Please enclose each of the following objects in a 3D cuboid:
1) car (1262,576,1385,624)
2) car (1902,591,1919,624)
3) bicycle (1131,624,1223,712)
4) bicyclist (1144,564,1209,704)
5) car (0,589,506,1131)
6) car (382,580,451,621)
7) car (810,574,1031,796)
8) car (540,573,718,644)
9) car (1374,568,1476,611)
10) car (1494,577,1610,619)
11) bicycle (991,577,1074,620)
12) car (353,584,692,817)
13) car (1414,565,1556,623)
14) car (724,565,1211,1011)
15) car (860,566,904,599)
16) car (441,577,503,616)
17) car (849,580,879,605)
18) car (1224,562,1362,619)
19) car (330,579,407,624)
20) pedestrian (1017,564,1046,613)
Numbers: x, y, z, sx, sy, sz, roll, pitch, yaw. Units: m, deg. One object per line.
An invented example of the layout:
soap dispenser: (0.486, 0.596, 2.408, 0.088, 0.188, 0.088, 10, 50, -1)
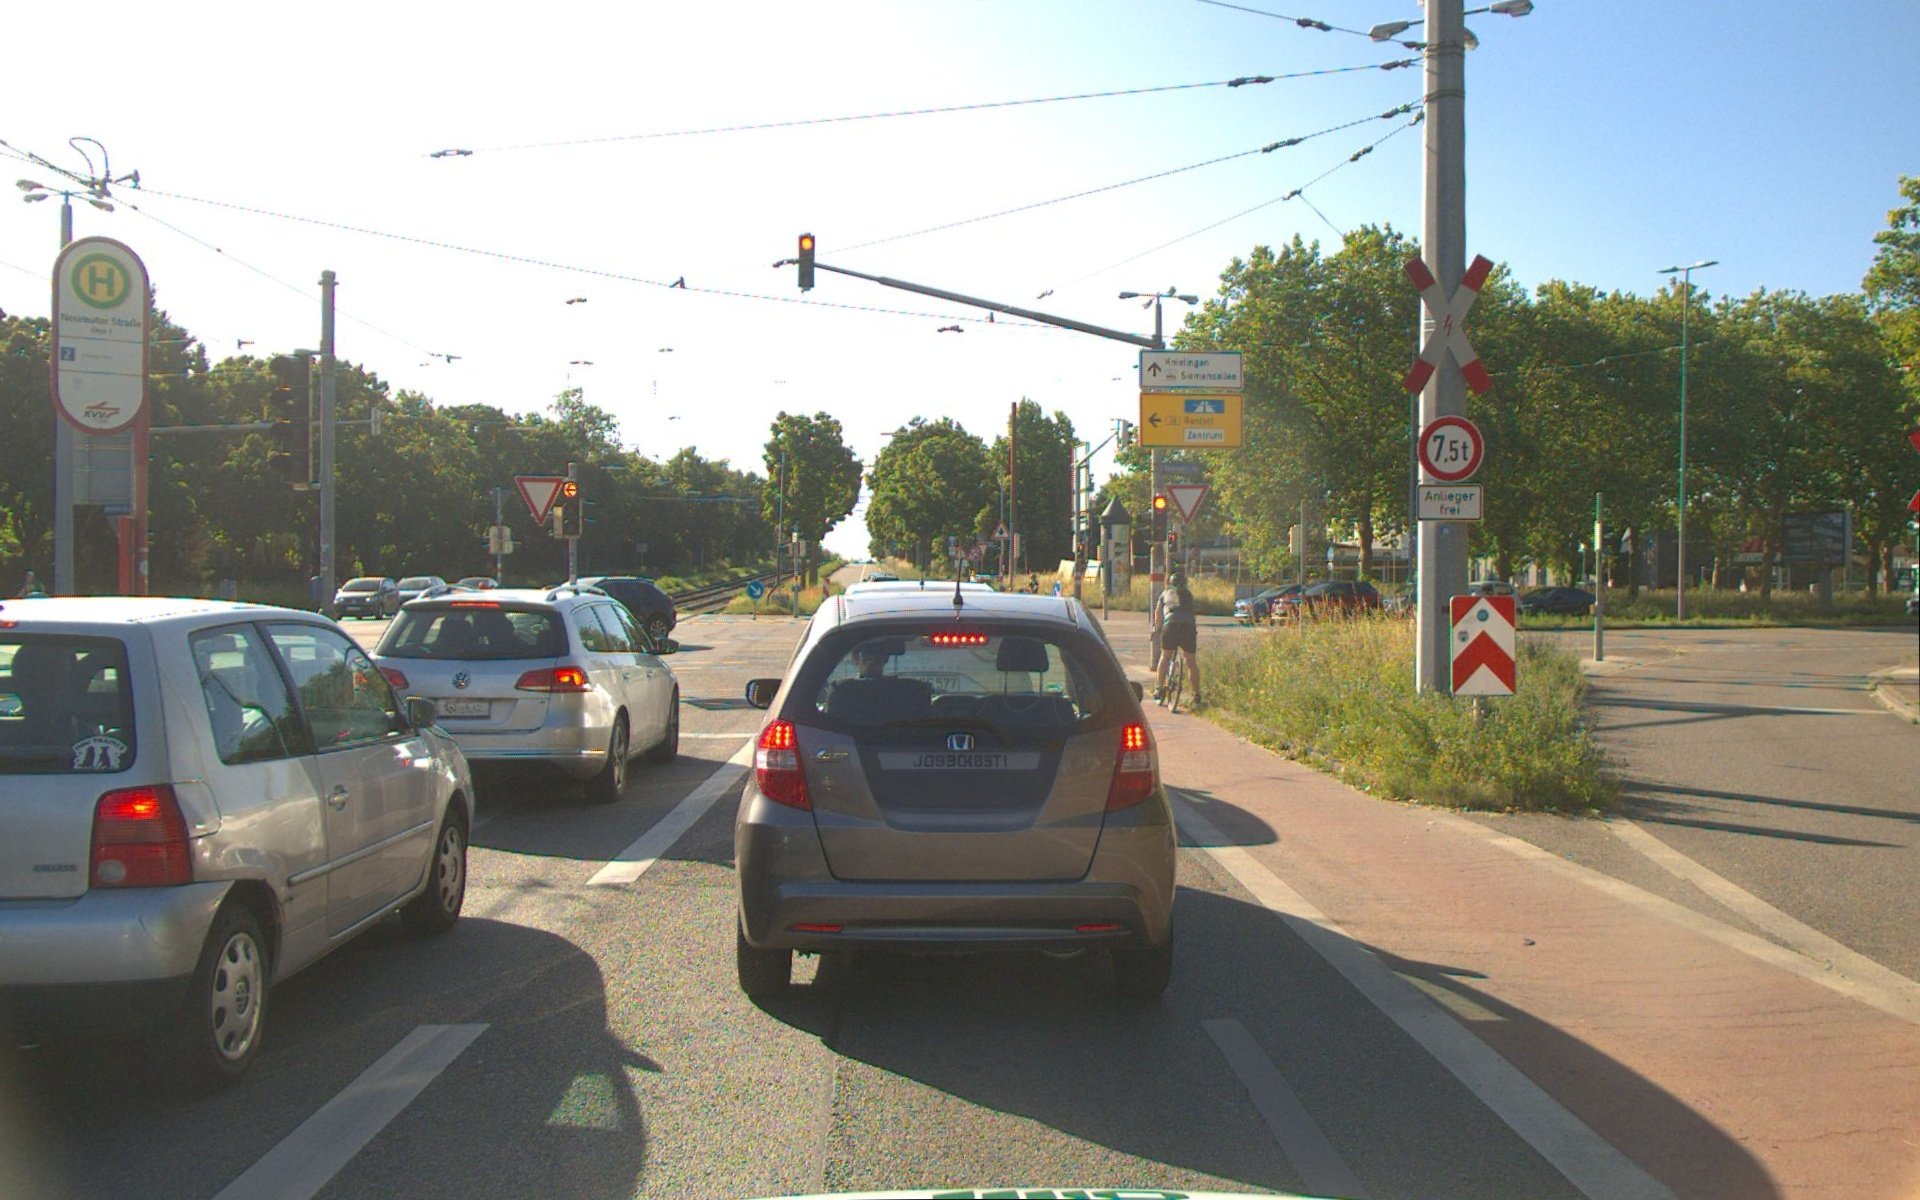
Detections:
car: (12.355, -0.013, 56.166, 3.934, 1.557, 1.594, -1, 1, -24)
car: (46.209, 0.319, 77.576, 3.937, 1.527, 1.580, 0, 0, -26)
bicycle: (2.752, 0.840, 21.286, 0.707, 1.006, 2.875, 1, 0, -2)
bicyclist: (2.765, 0.427, 21.207, 0.652, 1.746, 0.948, 1, 0, -2)
car: (-2.897, 0.703, 6.088, 1.586, 1.442, 3.350, 0, 0, -1)
car: (-21.489, 0.017, 65.538, 1.798, 1.575, 4.277, 0, 0, -8)
car: (-0.334, 0.599, 13.989, 1.578, 1.589, 4.287, 0, 0, -1)
car: (-7.666, 0.161, 38.552, 1.564, 1.571, 3.959, 0, 1, 42)
car: (17.827, -0.417, 63.448, 3.694, 1.597, 1.480, 0, 0, -24)
car: (23.588, -0.098, 65.873, 4.450, 1.601, 1.681, 0, 0, -24)
bicycle: (2.782, -0.073, 62.952, 3.164, 1.602, 0.814, 0, 0, -26)
car: (-3.155, 0.654, 12.728, 1.586, 1.482, 4.084, 1, 0, -1)
car: (19.018, -0.227, 59.888, 4.823, 2.049, 1.985, 0, 0, -24)
car: (-0.063, 0.621, 7.358, 1.635, 1.487, 3.584, 0, 0, -3)
car: (-3.615, -0.794, 76.359, 1.678, 1.504, 3.993, 0, 0, -8)
car: (-21.737, -0.166, 73.787, 1.956, 1.632, 4.746, 1, 1, -8)
car: (-5.415, -0.423, 93.148, 1.493, 1.403, 3.671, 0, 0, -6)
car: (12.173, -0.328, 60.452, 4.626, 1.912, 1.985, 2, 0, -24)
car: (-21.320, 0.034, 59.750, 1.798, 1.575, 3.993, 0, 0, -8)
pedestrian: (2.727, -0.447, 62.938, 0.842, 1.868, 0.784, 0, 0, -26)
